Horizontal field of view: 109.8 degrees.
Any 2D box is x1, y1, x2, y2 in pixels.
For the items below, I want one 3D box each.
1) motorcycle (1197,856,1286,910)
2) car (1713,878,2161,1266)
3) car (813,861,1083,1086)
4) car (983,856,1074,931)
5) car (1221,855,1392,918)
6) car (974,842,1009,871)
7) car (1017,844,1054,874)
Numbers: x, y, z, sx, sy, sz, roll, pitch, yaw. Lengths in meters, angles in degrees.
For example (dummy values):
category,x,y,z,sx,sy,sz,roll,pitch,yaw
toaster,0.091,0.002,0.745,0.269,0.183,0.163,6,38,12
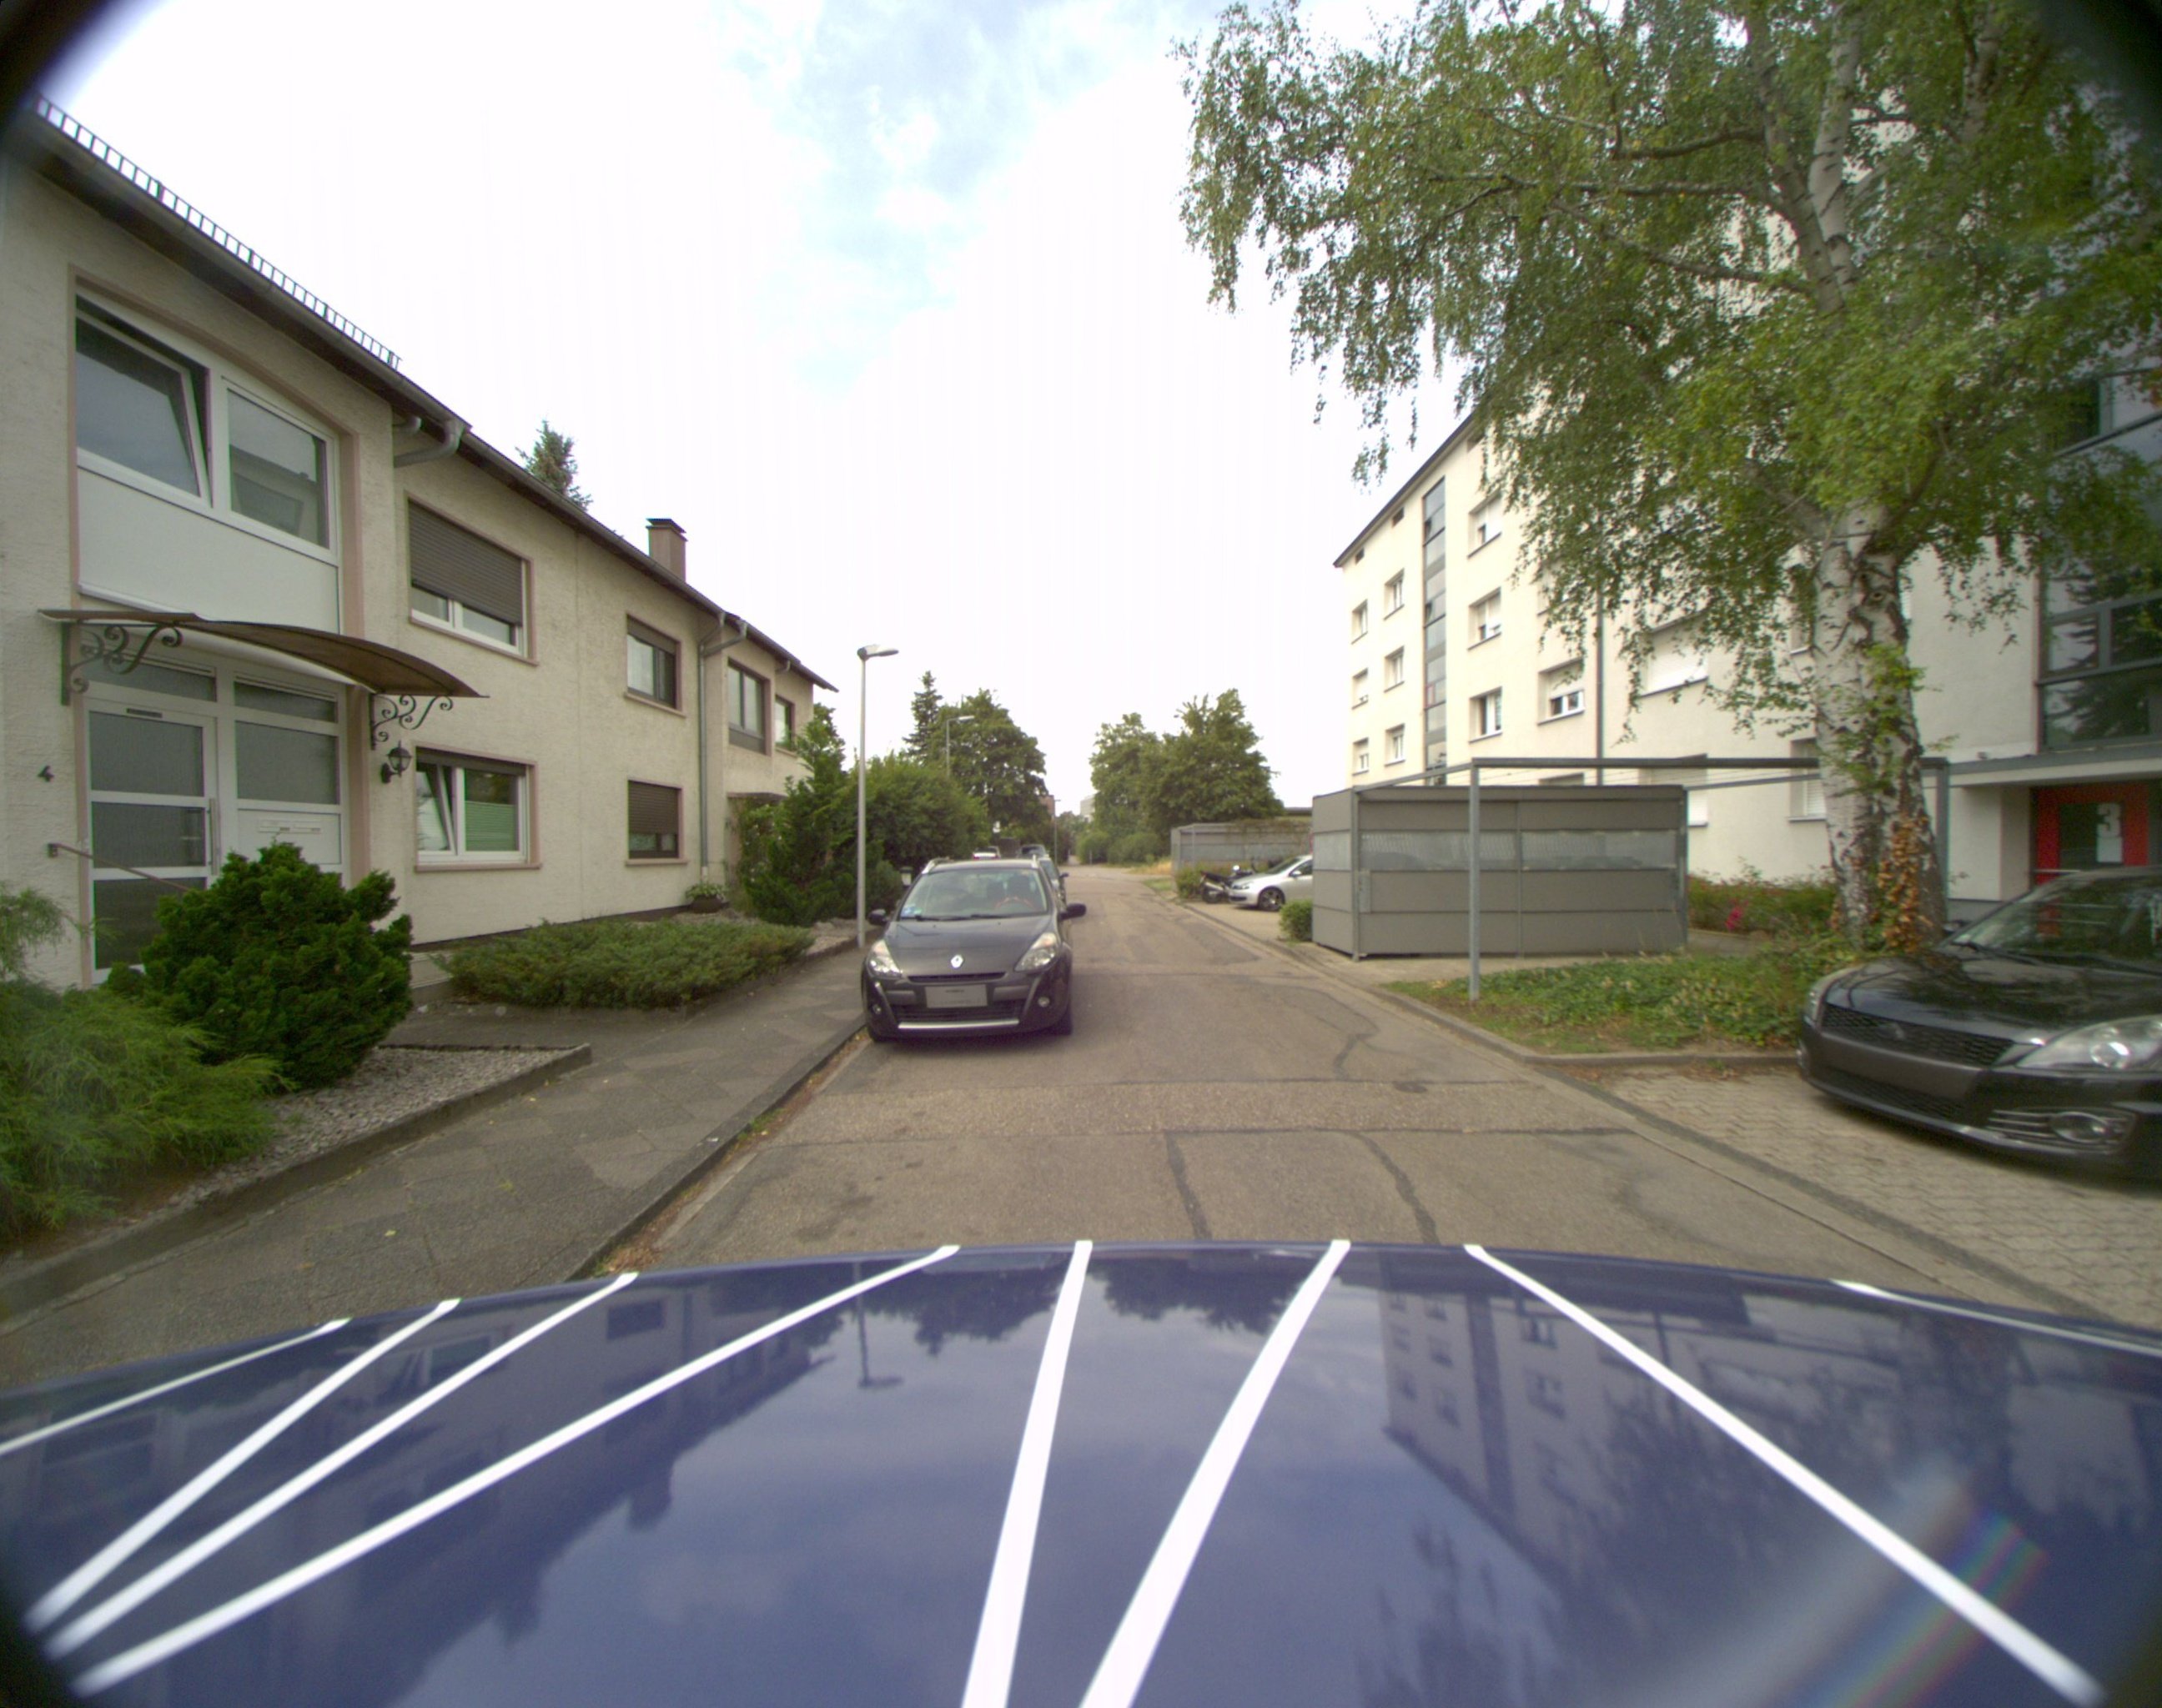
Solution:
category,x,y,z,sx,sy,sz,roll,pitch,yaw
motorcycle,4.619,0.826,22.012,2.383,1.455,0.714,2,1,-1
car,6.084,0.919,3.988,4.062,1.496,1.781,0,1,-1
car,-1.022,0.849,7.410,1.834,1.449,4.189,-2,1,-3
car,-1.173,0.825,17.686,1.834,1.449,4.189,-2,1,-3
car,5.931,0.832,20.358,3.997,1.477,1.902,2,1,1
car,-5.112,0.108,43.756,1.705,1.458,3.997,0,2,-3
car,-2.561,0.251,43.180,1.926,1.576,3.998,-2,1,-3
